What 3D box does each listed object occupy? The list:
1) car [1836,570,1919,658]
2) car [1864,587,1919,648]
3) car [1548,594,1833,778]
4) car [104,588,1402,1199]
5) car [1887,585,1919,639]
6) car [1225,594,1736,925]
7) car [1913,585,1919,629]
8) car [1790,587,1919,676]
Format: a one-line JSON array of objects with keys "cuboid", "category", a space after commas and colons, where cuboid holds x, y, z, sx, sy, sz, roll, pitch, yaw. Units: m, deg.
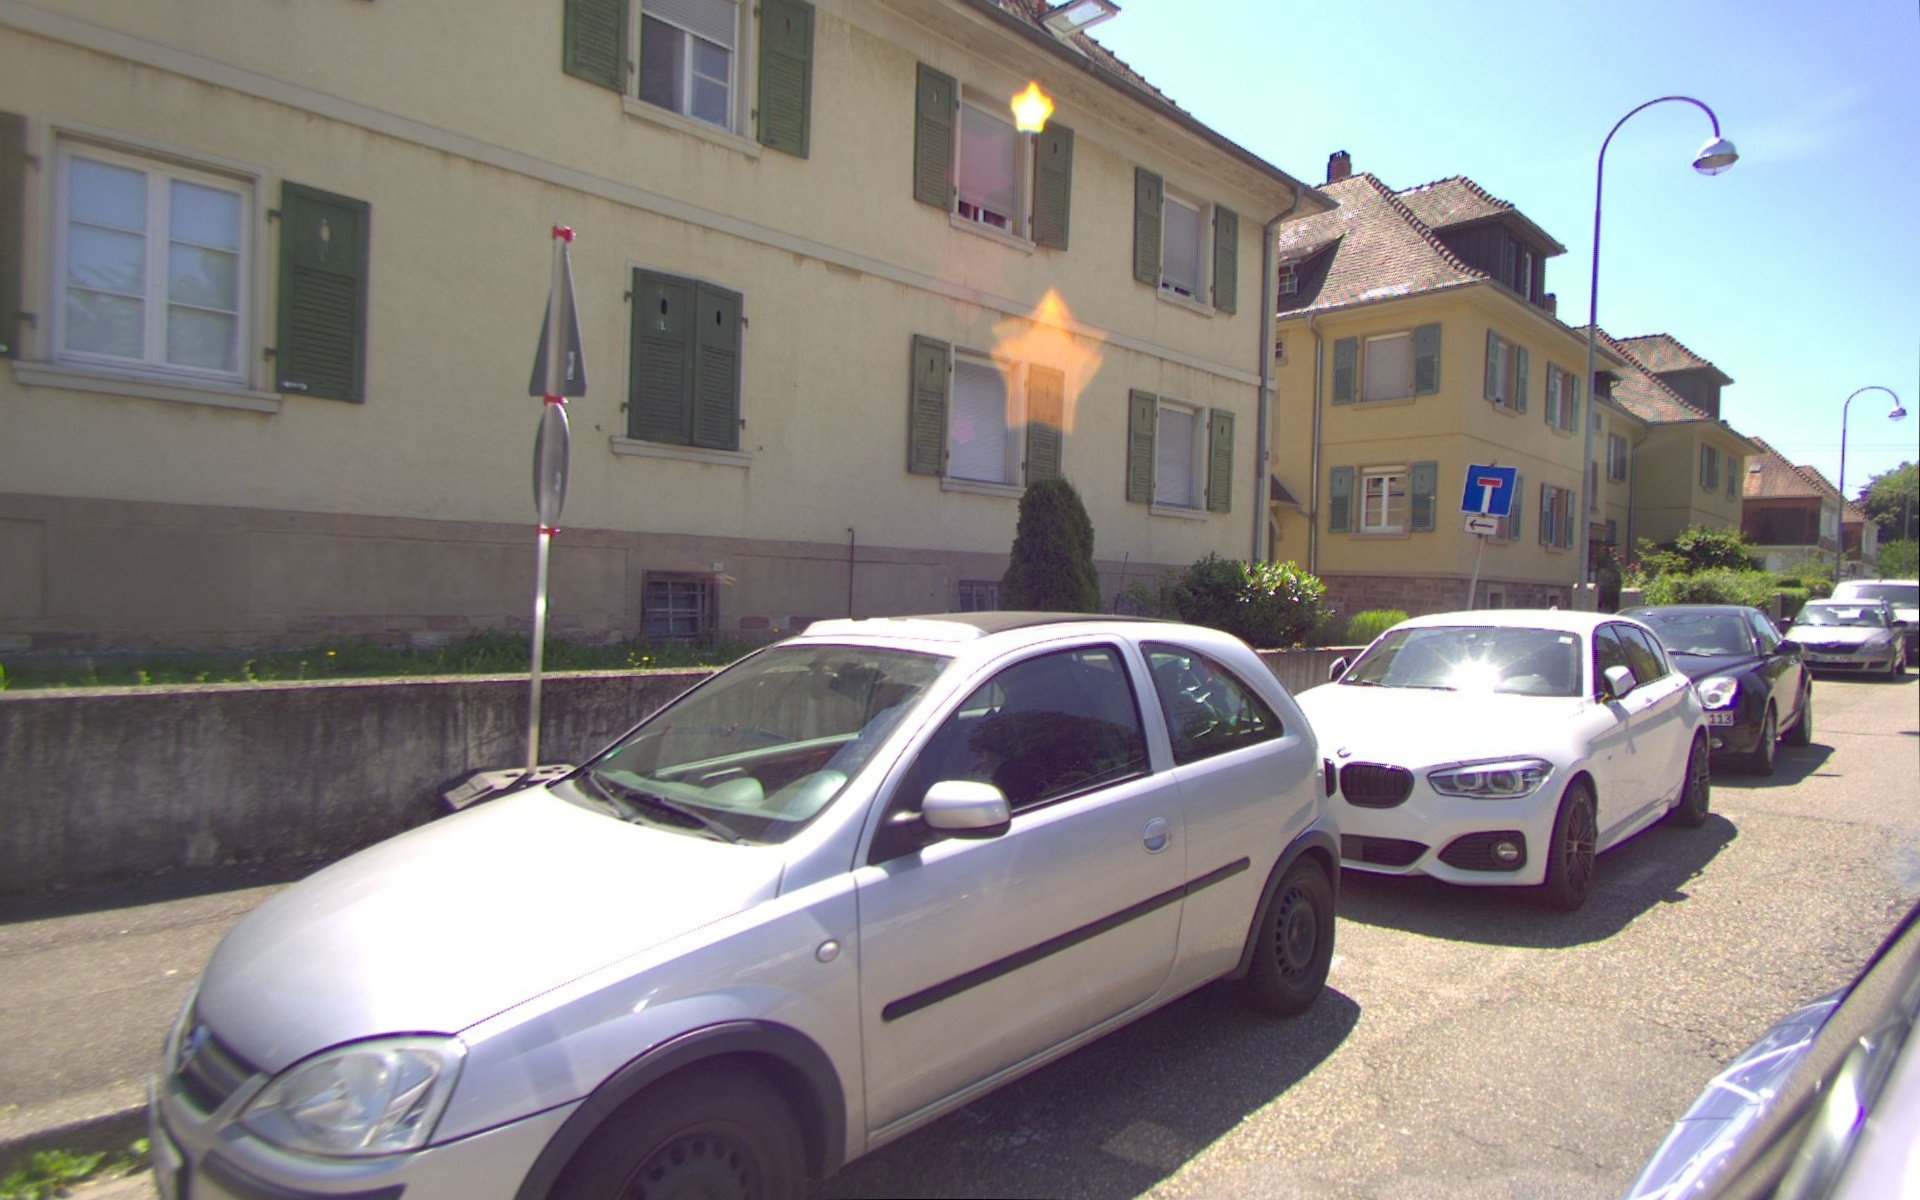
[{"cuboid": [21.929, 0.279, 23.582, 4.612, 1.892, 1.849, -1, 0, -43], "category": "car"}, {"cuboid": [25.764, 0.419, 27.228, 4.265, 1.533, 1.803, -1, 0, -43], "category": "car"}, {"cuboid": [7.273, 0.687, 9.920, 3.933, 1.448, 1.597, 1, -1, -44], "category": "car"}, {"cuboid": [-0.204, 0.719, 3.345, 3.934, 1.484, 1.668, -1, 0, -44], "category": "car"}, {"cuboid": [29.316, 0.332, 30.446, 4.265, 1.533, 1.803, -1, 1, -43], "category": "car"}, {"cuboid": [3.486, 0.712, 6.420, 3.932, 1.454, 1.668, 0, -1, -43], "category": "car"}, {"cuboid": [35.972, 0.233, 36.699, 4.265, 1.533, 1.803, -1, 1, -43], "category": "car"}, {"cuboid": [17.267, 0.534, 19.435, 3.934, 1.522, 1.597, -1, 0, -44], "category": "car"}]
